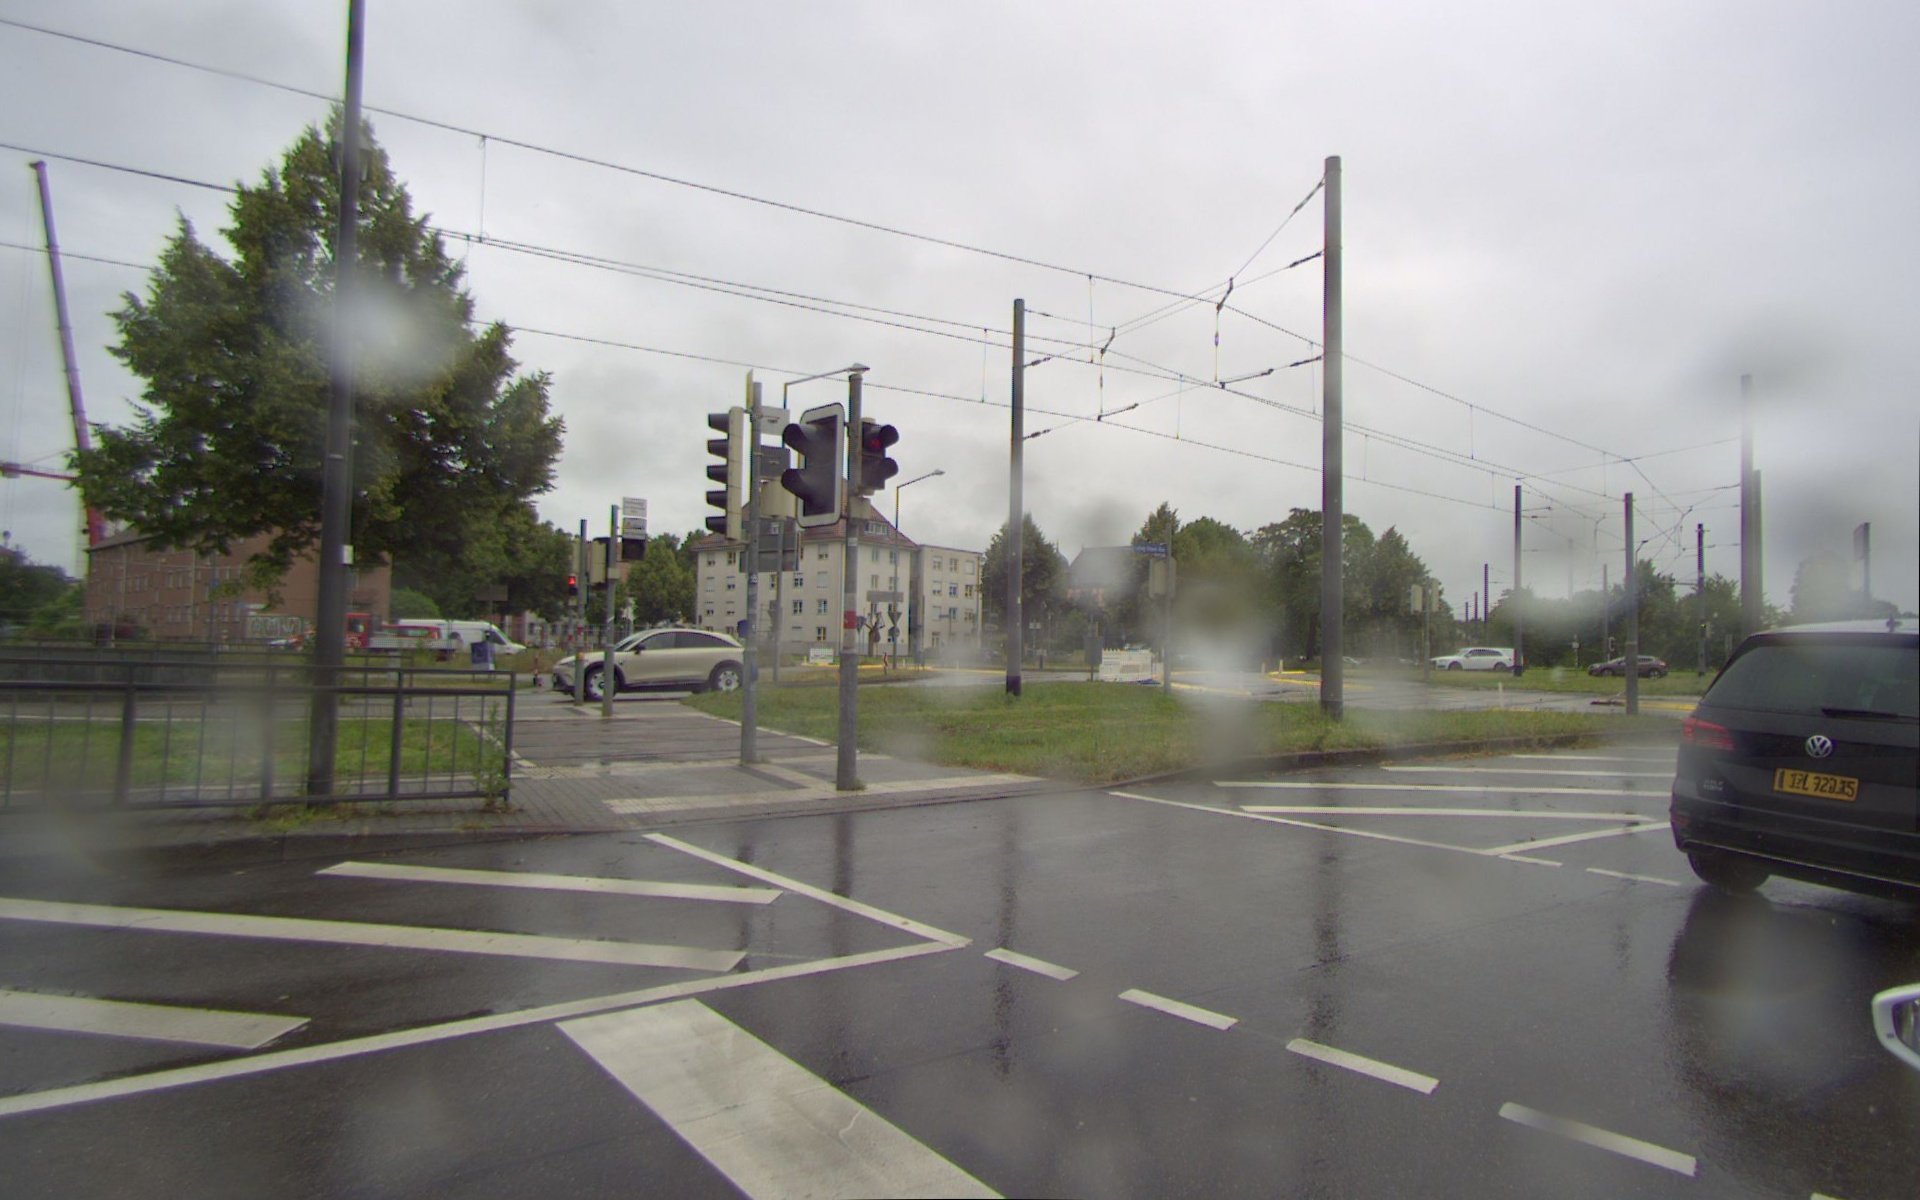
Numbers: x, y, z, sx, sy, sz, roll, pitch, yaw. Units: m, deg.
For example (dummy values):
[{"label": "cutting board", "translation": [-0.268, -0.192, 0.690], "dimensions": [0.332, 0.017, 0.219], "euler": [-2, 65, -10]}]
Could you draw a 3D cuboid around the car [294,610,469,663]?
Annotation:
[{"label": "car", "translation": [-25.595, 1.615, 44.755], "dimensions": [6.330, 2.040, 2.346], "euler": [3, -1, -20]}]

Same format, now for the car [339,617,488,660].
[{"label": "car", "translation": [-27.839, 1.992, 51.441], "dimensions": [6.330, 2.040, 2.347], "euler": [2, -2, -20]}]

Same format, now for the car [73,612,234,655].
[{"label": "car", "translation": [-42.645, 1.804, 53.271], "dimensions": [2.324, 2.040, 6.389], "euler": [2, -1, 44]}]

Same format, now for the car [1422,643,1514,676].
[{"label": "car", "translation": [31.374, 3.669, 62.086], "dimensions": [4.771, 1.767, 1.778], "euler": [3, -1, -1]}]

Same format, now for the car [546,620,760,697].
[{"label": "car", "translation": [-6.775, 1.297, 22.306], "dimensions": [4.181, 1.505, 1.835], "euler": [3, -1, -33]}]

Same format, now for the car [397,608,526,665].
[{"label": "car", "translation": [-28.827, 2.113, 58.341], "dimensions": [6.330, 2.978, 2.346], "euler": [3, -1, -20]}]

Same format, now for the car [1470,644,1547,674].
[{"label": "car", "translation": [36.621, 3.912, 67.090], "dimensions": [4.082, 1.746, 1.835], "euler": [3, -1, 3]}]

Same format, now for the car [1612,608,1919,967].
[{"label": "car", "translation": [5.949, 0.918, 5.648], "dimensions": [4.272, 1.537, 1.778], "euler": [3, -1, -24]}]

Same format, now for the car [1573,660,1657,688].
[{"label": "car", "translation": [42.876, 4.817, 65.855], "dimensions": [4.468, 1.511, 1.608], "euler": [2, -1, 31]}]
